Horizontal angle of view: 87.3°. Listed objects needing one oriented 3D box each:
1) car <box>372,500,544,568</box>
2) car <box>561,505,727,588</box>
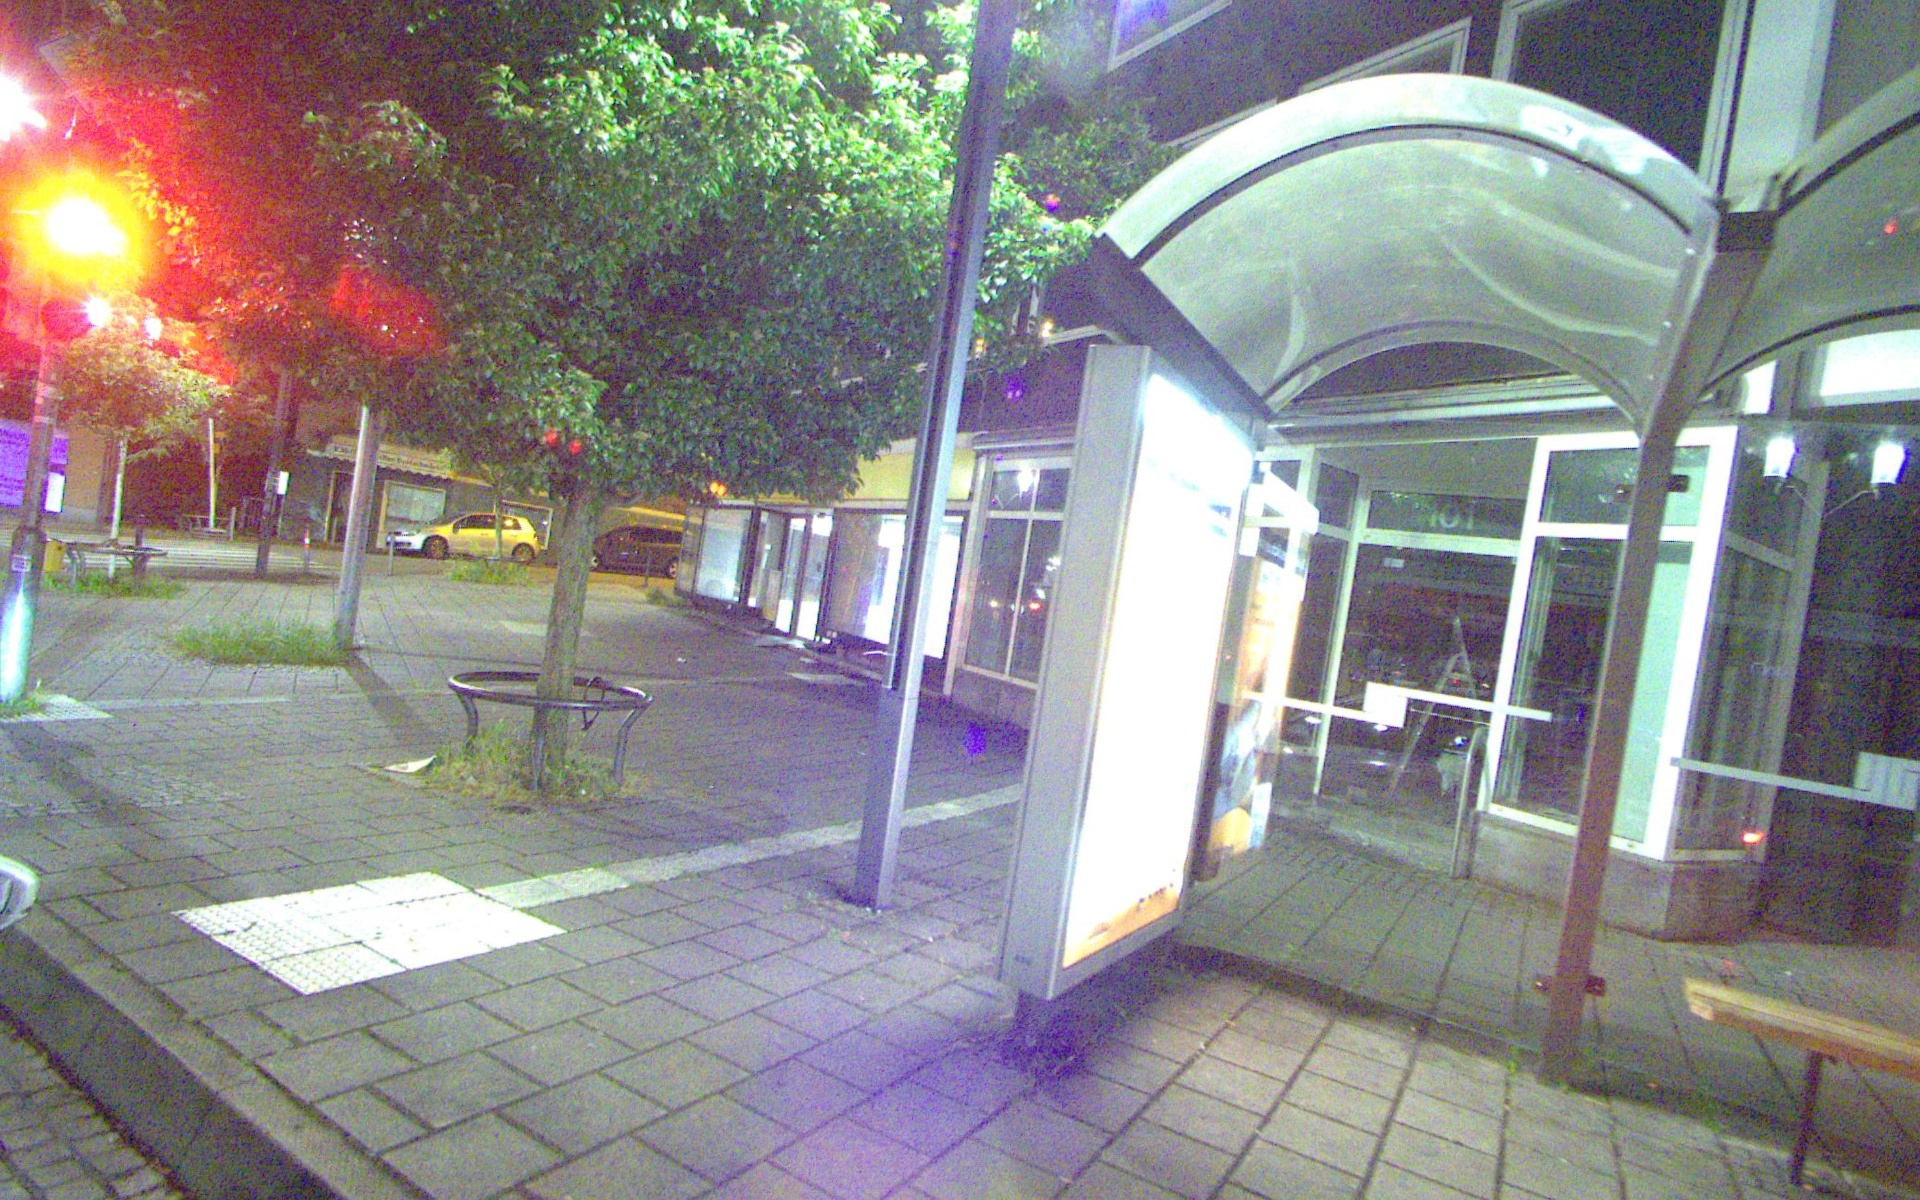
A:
[{"bbox_3d":[-14.497,-1.889,29.232,1.798,1.472,4.036,8,2,38],"label":"car"},{"bbox_3d":[-10.206,-1.647,32.508,4.783,1.932,2.148,8,-2,-23],"label":"car"}]
